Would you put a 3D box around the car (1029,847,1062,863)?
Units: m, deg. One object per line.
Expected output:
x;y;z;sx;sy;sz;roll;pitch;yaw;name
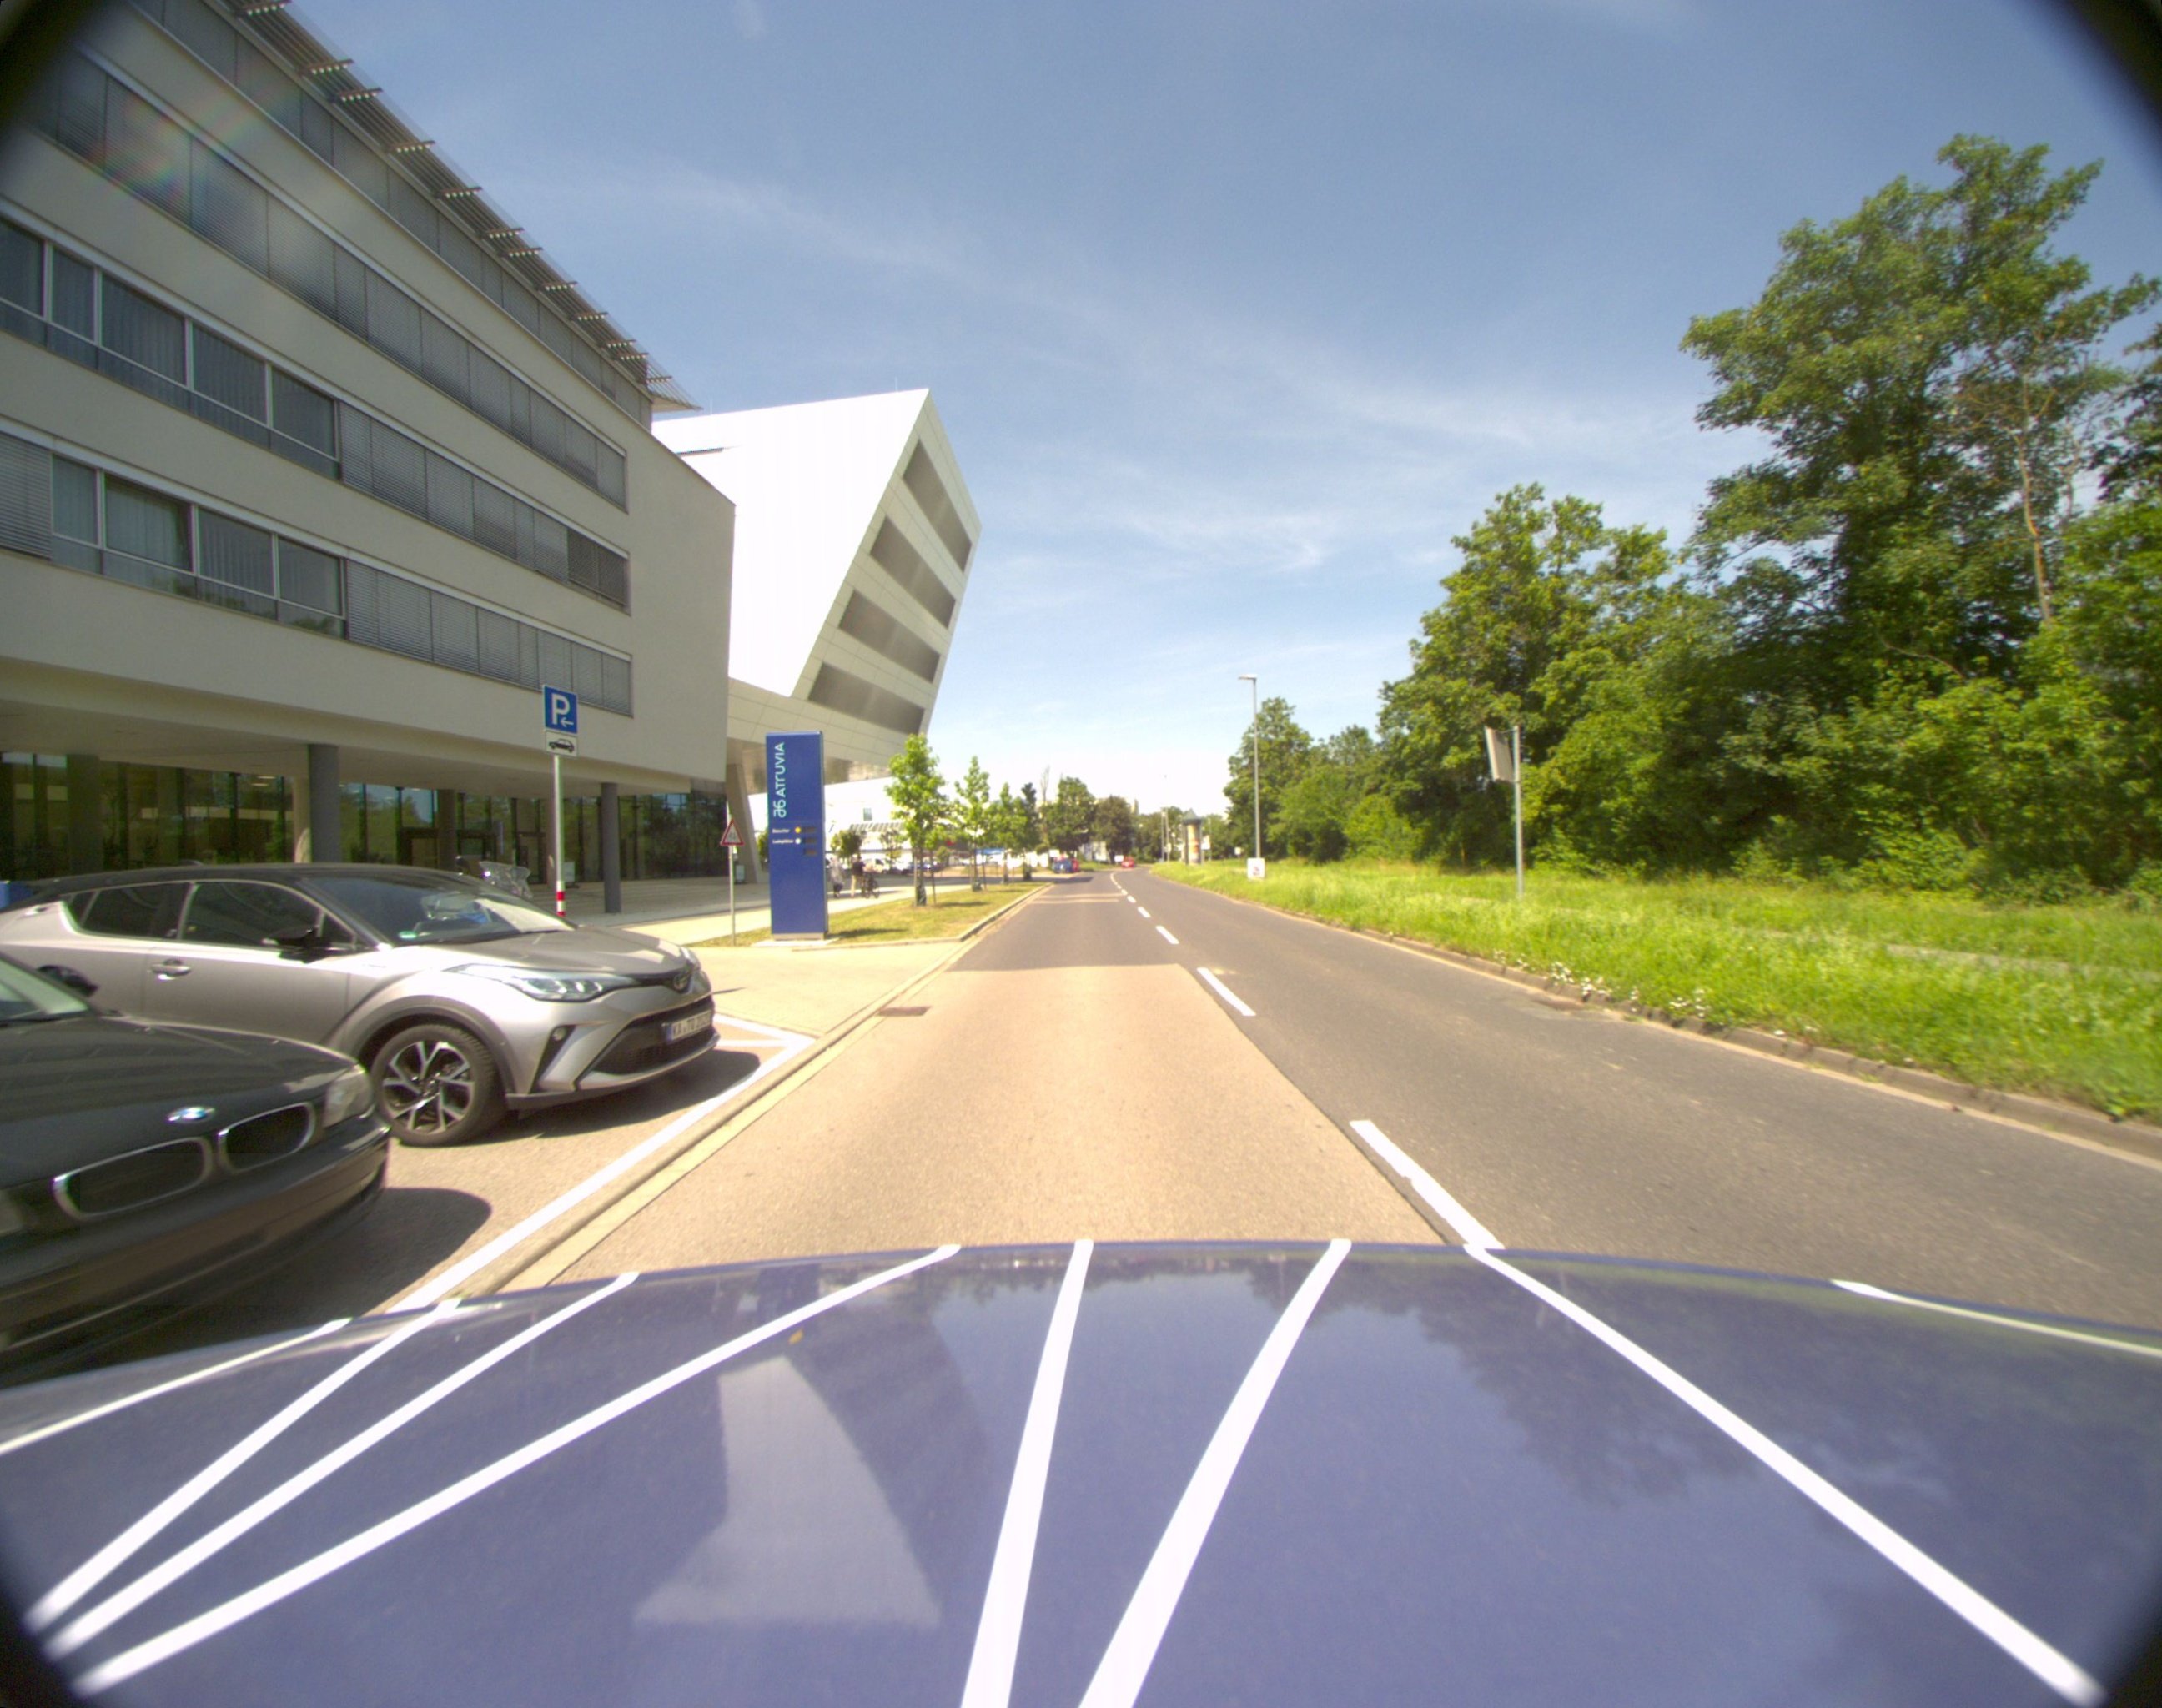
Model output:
-4.869;0.154;104.412;4.204;1.964;1.704;-3;1;7;car

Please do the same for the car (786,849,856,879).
-23.571;0.914;69.074;5.580;2.445;2.001;-3;1;7;car

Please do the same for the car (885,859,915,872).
-20.019;1.256;84.130;2.895;1.296;1.201;-3;1;7;car

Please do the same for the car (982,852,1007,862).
-15.893;0.499;139.533;4.320;1.647;1.704;-3;1;7;car

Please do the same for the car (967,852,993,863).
-17.047;0.579;128.053;3.916;1.533;1.704;-3;1;7;car

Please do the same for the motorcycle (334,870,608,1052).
-5.999;0.917;7.465;2.438;1.489;1.228;0;0;28;motorcycle

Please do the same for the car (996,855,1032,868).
-8.026;0.917;91.485;3.996;1.385;1.653;-3;1;4;car

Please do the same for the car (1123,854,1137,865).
7.254;0.815;113.148;1.711;1.368;3.677;-3;1;9;car

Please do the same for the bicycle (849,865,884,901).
-8.258;1.106;29.290;0.645;1.247;2.305;-3;1;0;bicycle

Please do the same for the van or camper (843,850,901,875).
-22.530;0.885;81.864;5.699;2.376;1.704;-3;1;7;van or camper

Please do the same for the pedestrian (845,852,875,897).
-8.639;0.798;29.726;0.844;1.691;0.775;-3;1;0;pedestrian

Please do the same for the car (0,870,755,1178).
-4.668;0.908;4.908;4.331;1.554;1.786;0;1;2;car

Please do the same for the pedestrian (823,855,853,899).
-9.508;0.885;29.702;0.844;1.650;0.775;-3;1;0;pedestrian

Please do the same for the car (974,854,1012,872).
-9.452;0.958;81.797;3.821;1.664;1.742;-3;1;4;car

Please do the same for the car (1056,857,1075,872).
-1.608;1.081;79.742;1.802;1.490;3.999;-3;0;0;car

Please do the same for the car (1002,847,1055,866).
-6.841;0.297;98.703;6.491;2.137;2.166;-3;1;7;car

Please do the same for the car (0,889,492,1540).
-4.460;0.911;2.483;3.816;1.477;1.656;-1;1;3;car

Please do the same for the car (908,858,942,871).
-19.591;1.317;95.589;3.815;1.362;1.459;-3;1;7;car
